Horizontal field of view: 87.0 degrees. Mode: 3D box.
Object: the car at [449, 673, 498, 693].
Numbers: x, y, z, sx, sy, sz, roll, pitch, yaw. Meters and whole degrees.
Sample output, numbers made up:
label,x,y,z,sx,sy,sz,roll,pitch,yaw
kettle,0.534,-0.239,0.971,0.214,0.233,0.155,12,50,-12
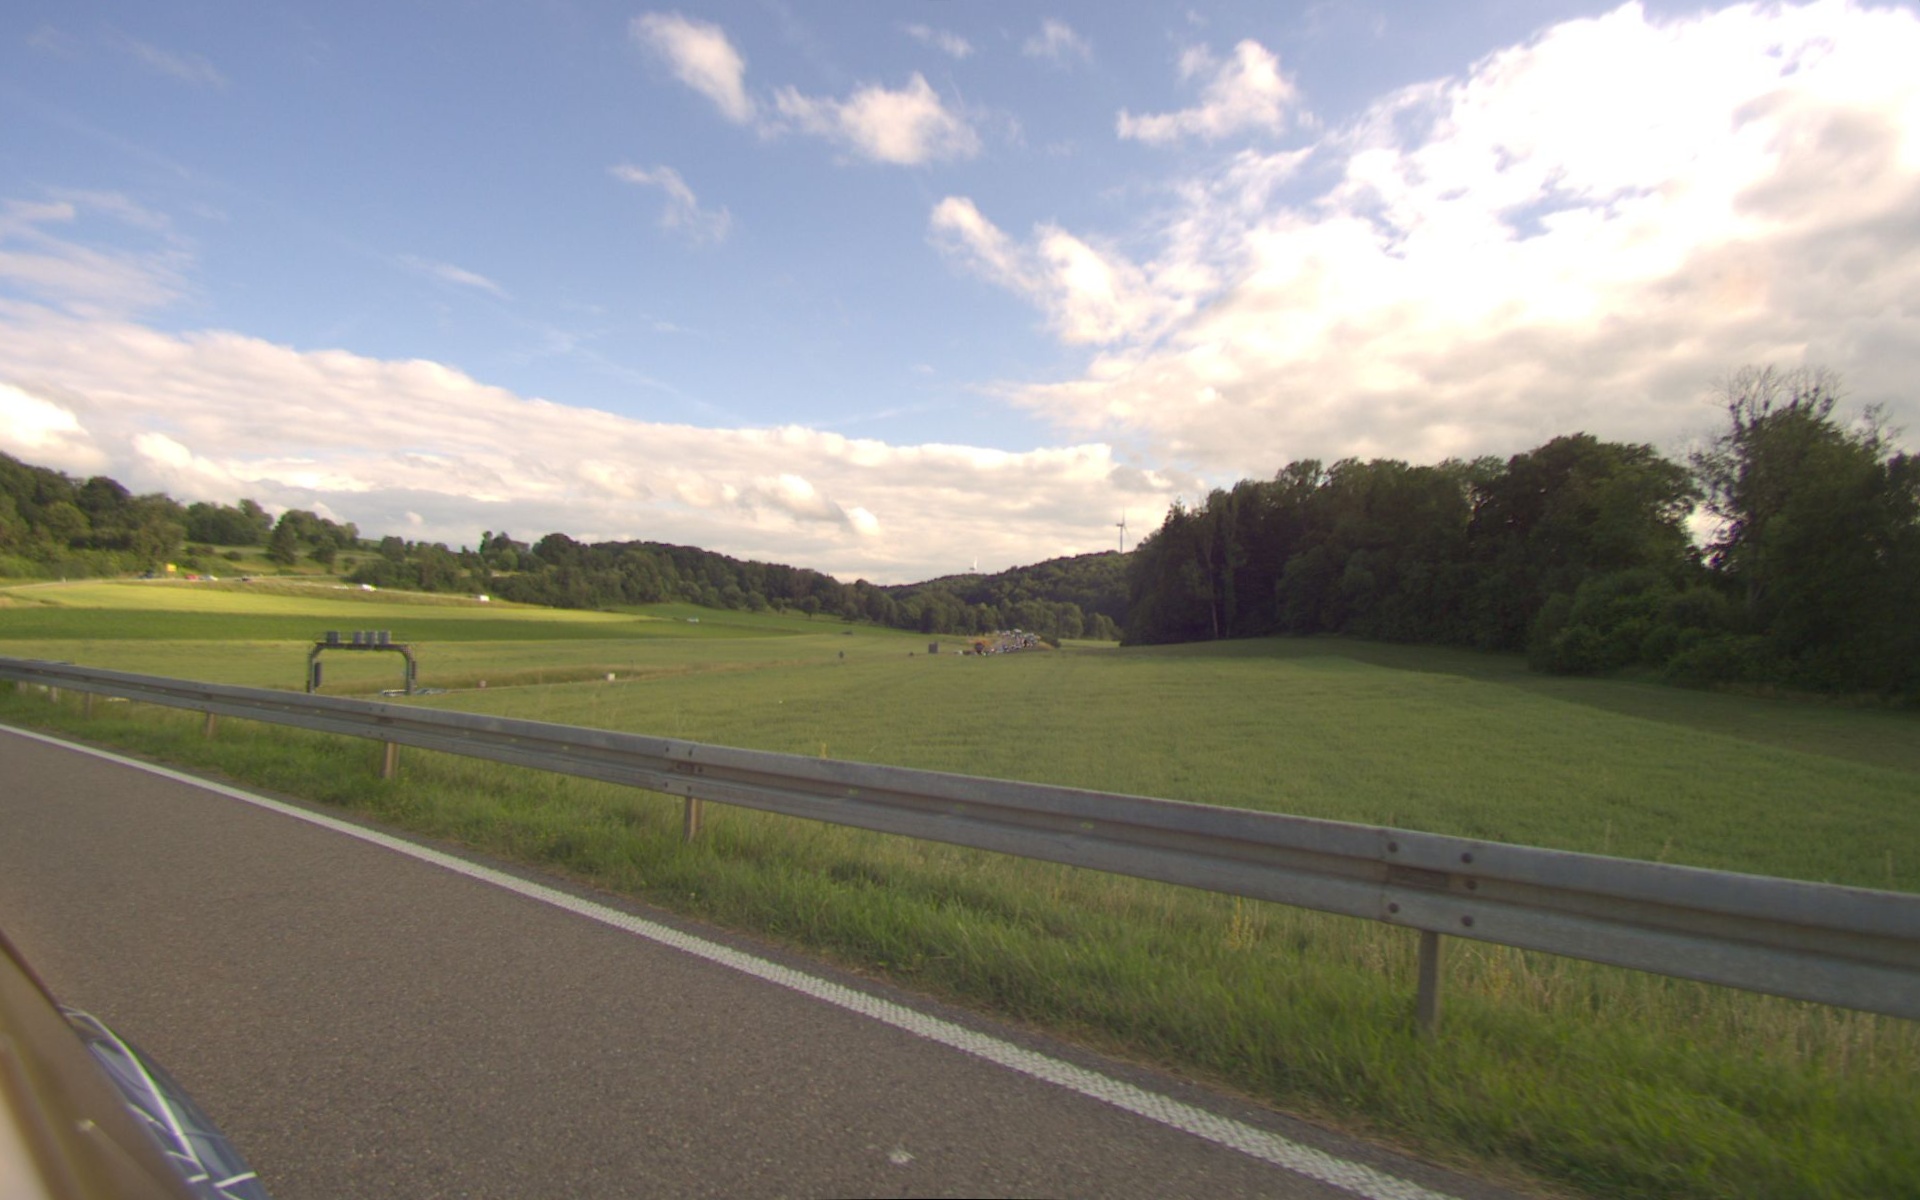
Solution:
label,x,y,z,sx,sy,sz,roll,pitch,yaw
car,-46.664,7.911,97.143,1.817,1.662,3.968,1,-2,23
